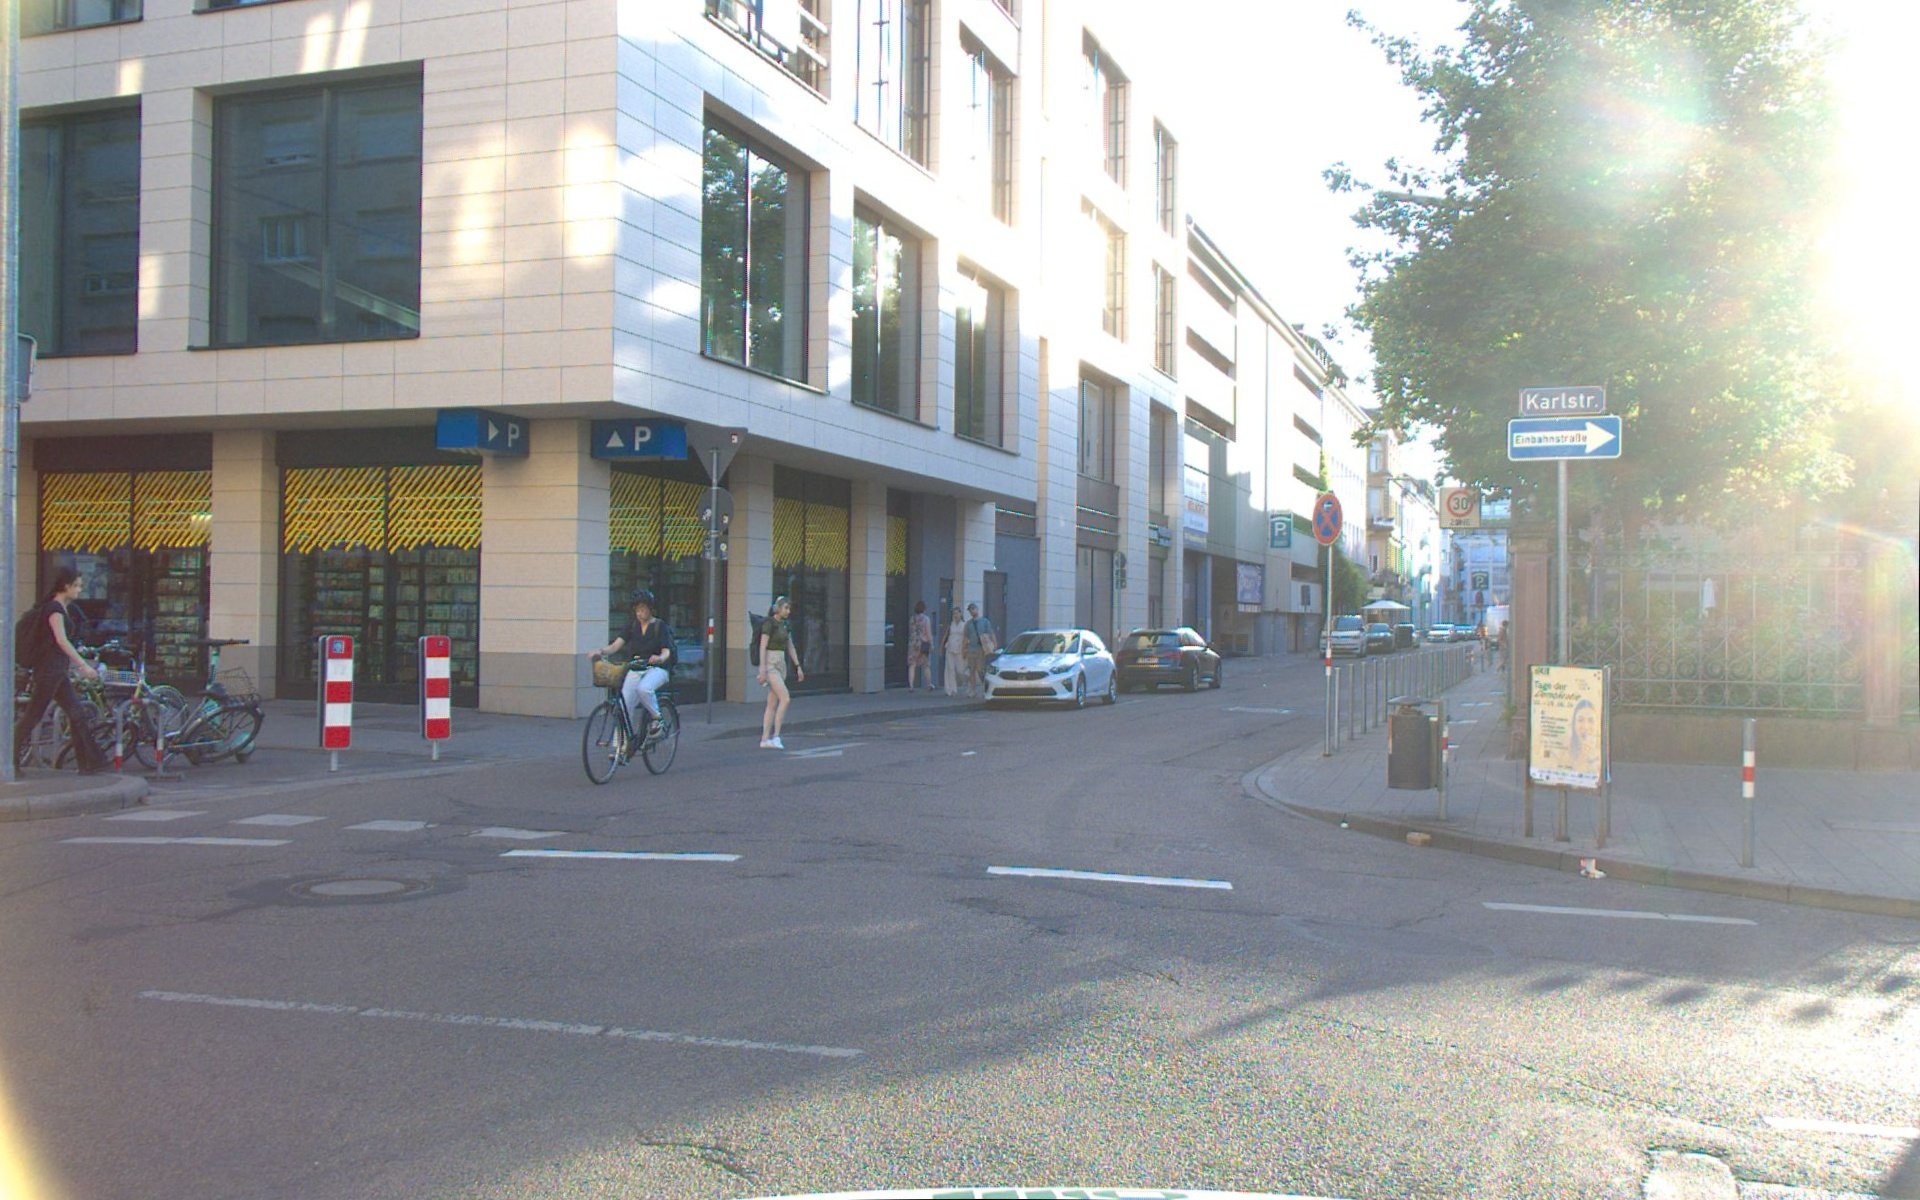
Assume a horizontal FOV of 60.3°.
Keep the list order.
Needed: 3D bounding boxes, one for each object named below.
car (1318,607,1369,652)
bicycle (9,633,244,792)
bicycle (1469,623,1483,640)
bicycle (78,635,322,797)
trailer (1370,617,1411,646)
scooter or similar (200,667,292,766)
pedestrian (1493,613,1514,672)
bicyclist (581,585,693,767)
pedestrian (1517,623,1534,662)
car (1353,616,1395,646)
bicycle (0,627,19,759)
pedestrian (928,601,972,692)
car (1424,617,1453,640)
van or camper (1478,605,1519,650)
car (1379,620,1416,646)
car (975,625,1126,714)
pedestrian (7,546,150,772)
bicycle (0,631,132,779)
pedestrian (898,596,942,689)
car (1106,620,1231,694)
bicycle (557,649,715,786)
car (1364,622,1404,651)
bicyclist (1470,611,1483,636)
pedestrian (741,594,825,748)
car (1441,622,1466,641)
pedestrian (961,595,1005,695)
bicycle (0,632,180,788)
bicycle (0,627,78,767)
[{"bbox_3d":[17.550,1.329,75.543,1.844,1.945,4.750,1,-1,18],"label":"car"},{"bbox_3d":[-7.234,0.940,14.485,0.568,1.277,2.045,1,-1,16],"label":"bicycle"},{"bbox_3d":[40.676,2.491,130.326,0.955,1.303,2.754,1,-1,20],"label":"bicycle"},{"bbox_3d":[-6.504,0.954,14.306,0.650,1.277,2.142,1,-1,16],"label":"bicycle"},{"bbox_3d":[24.733,1.798,94.951,1.952,1.584,4.001,1,-1,18],"label":"trailer"},{"bbox_3d":[-6.841,1.106,15.871,0.378,0.899,0.770,1,-1,18],"label":"scooter or similar"},{"bbox_3d":[15.632,1.227,47.596,0.474,1.687,0.619,-1,-1,13],"label":"pedestrian"},{"bbox_3d":[-2.949,0.682,15.154,0.644,1.598,0.864,1,-1,16],"label":"bicyclist"},{"bbox_3d":[24.683,1.865,72.239,0.648,1.695,0.624,-1,-1,20],"label":"pedestrian"},{"bbox_3d":[21.619,1.618,86.319,1.844,1.478,4.001,1,-1,18],"label":"car"},{"bbox_3d":[-9.814,0.882,15.407,0.501,1.277,1.980,1,-1,17],"label":"bicycle"},{"bbox_3d":[-0.184,0.881,31.645,0.658,1.704,0.647,1,-1,17],"label":"pedestrian"},{"bbox_3d":[38.049,2.268,131.478,1.952,1.713,4.000,1,-1,20],"label":"car"},{"bbox_3d":[34.223,1.777,105.023,2.211,2.653,5.112,-4,-3,20],"label":"van or camper"},{"bbox_3d":[26.149,1.959,98.771,1.844,1.478,4.001,1,-1,18],"label":"car"},{"bbox_3d":[1.765,1.229,30.756,1.740,1.478,4.232,1,-1,18],"label":"car"},{"bbox_3d":[-6.804,0.449,12.808,0.857,1.687,0.615,1,-1,-21],"label":"pedestrian"},{"bbox_3d":[-8.427,0.919,14.803,0.501,1.277,1.979,1,-1,20],"label":"bicycle"},{"bbox_3d":[-0.773,0.816,32.146,0.658,1.775,0.647,0,-1,20],"label":"pedestrian"},{"bbox_3d":[5.018,1.304,39.263,1.845,1.626,4.689,1,-1,22],"label":"car"},{"bbox_3d":[-2.939,1.039,15.203,0.650,1.158,1.823,1,-1,16],"label":"bicycle"},{"bbox_3d":[23.370,1.990,91.094,1.844,1.478,4.001,1,-1,18],"label":"car"},{"bbox_3d":[40.690,1.856,130.284,0.970,1.901,0.708,1,-1,21],"label":"bicyclist"},{"bbox_3d":[-2.066,0.811,19.320,0.630,1.753,0.835,1,-1,-36],"label":"pedestrian"},{"bbox_3d":[45.539,2.911,152.660,1.952,1.713,4.000,1,-1,20],"label":"car"},{"bbox_3d":[0.434,0.850,31.460,0.658,1.869,0.647,1,-1,17],"label":"pedestrian"},{"bbox_3d":[-7.843,0.929,14.627,0.501,1.277,1.980,1,-1,16],"label":"bicycle"},{"bbox_3d":[-9.096,0.890,15.129,0.501,1.277,1.979,1,-1,18],"label":"bicycle"}]
